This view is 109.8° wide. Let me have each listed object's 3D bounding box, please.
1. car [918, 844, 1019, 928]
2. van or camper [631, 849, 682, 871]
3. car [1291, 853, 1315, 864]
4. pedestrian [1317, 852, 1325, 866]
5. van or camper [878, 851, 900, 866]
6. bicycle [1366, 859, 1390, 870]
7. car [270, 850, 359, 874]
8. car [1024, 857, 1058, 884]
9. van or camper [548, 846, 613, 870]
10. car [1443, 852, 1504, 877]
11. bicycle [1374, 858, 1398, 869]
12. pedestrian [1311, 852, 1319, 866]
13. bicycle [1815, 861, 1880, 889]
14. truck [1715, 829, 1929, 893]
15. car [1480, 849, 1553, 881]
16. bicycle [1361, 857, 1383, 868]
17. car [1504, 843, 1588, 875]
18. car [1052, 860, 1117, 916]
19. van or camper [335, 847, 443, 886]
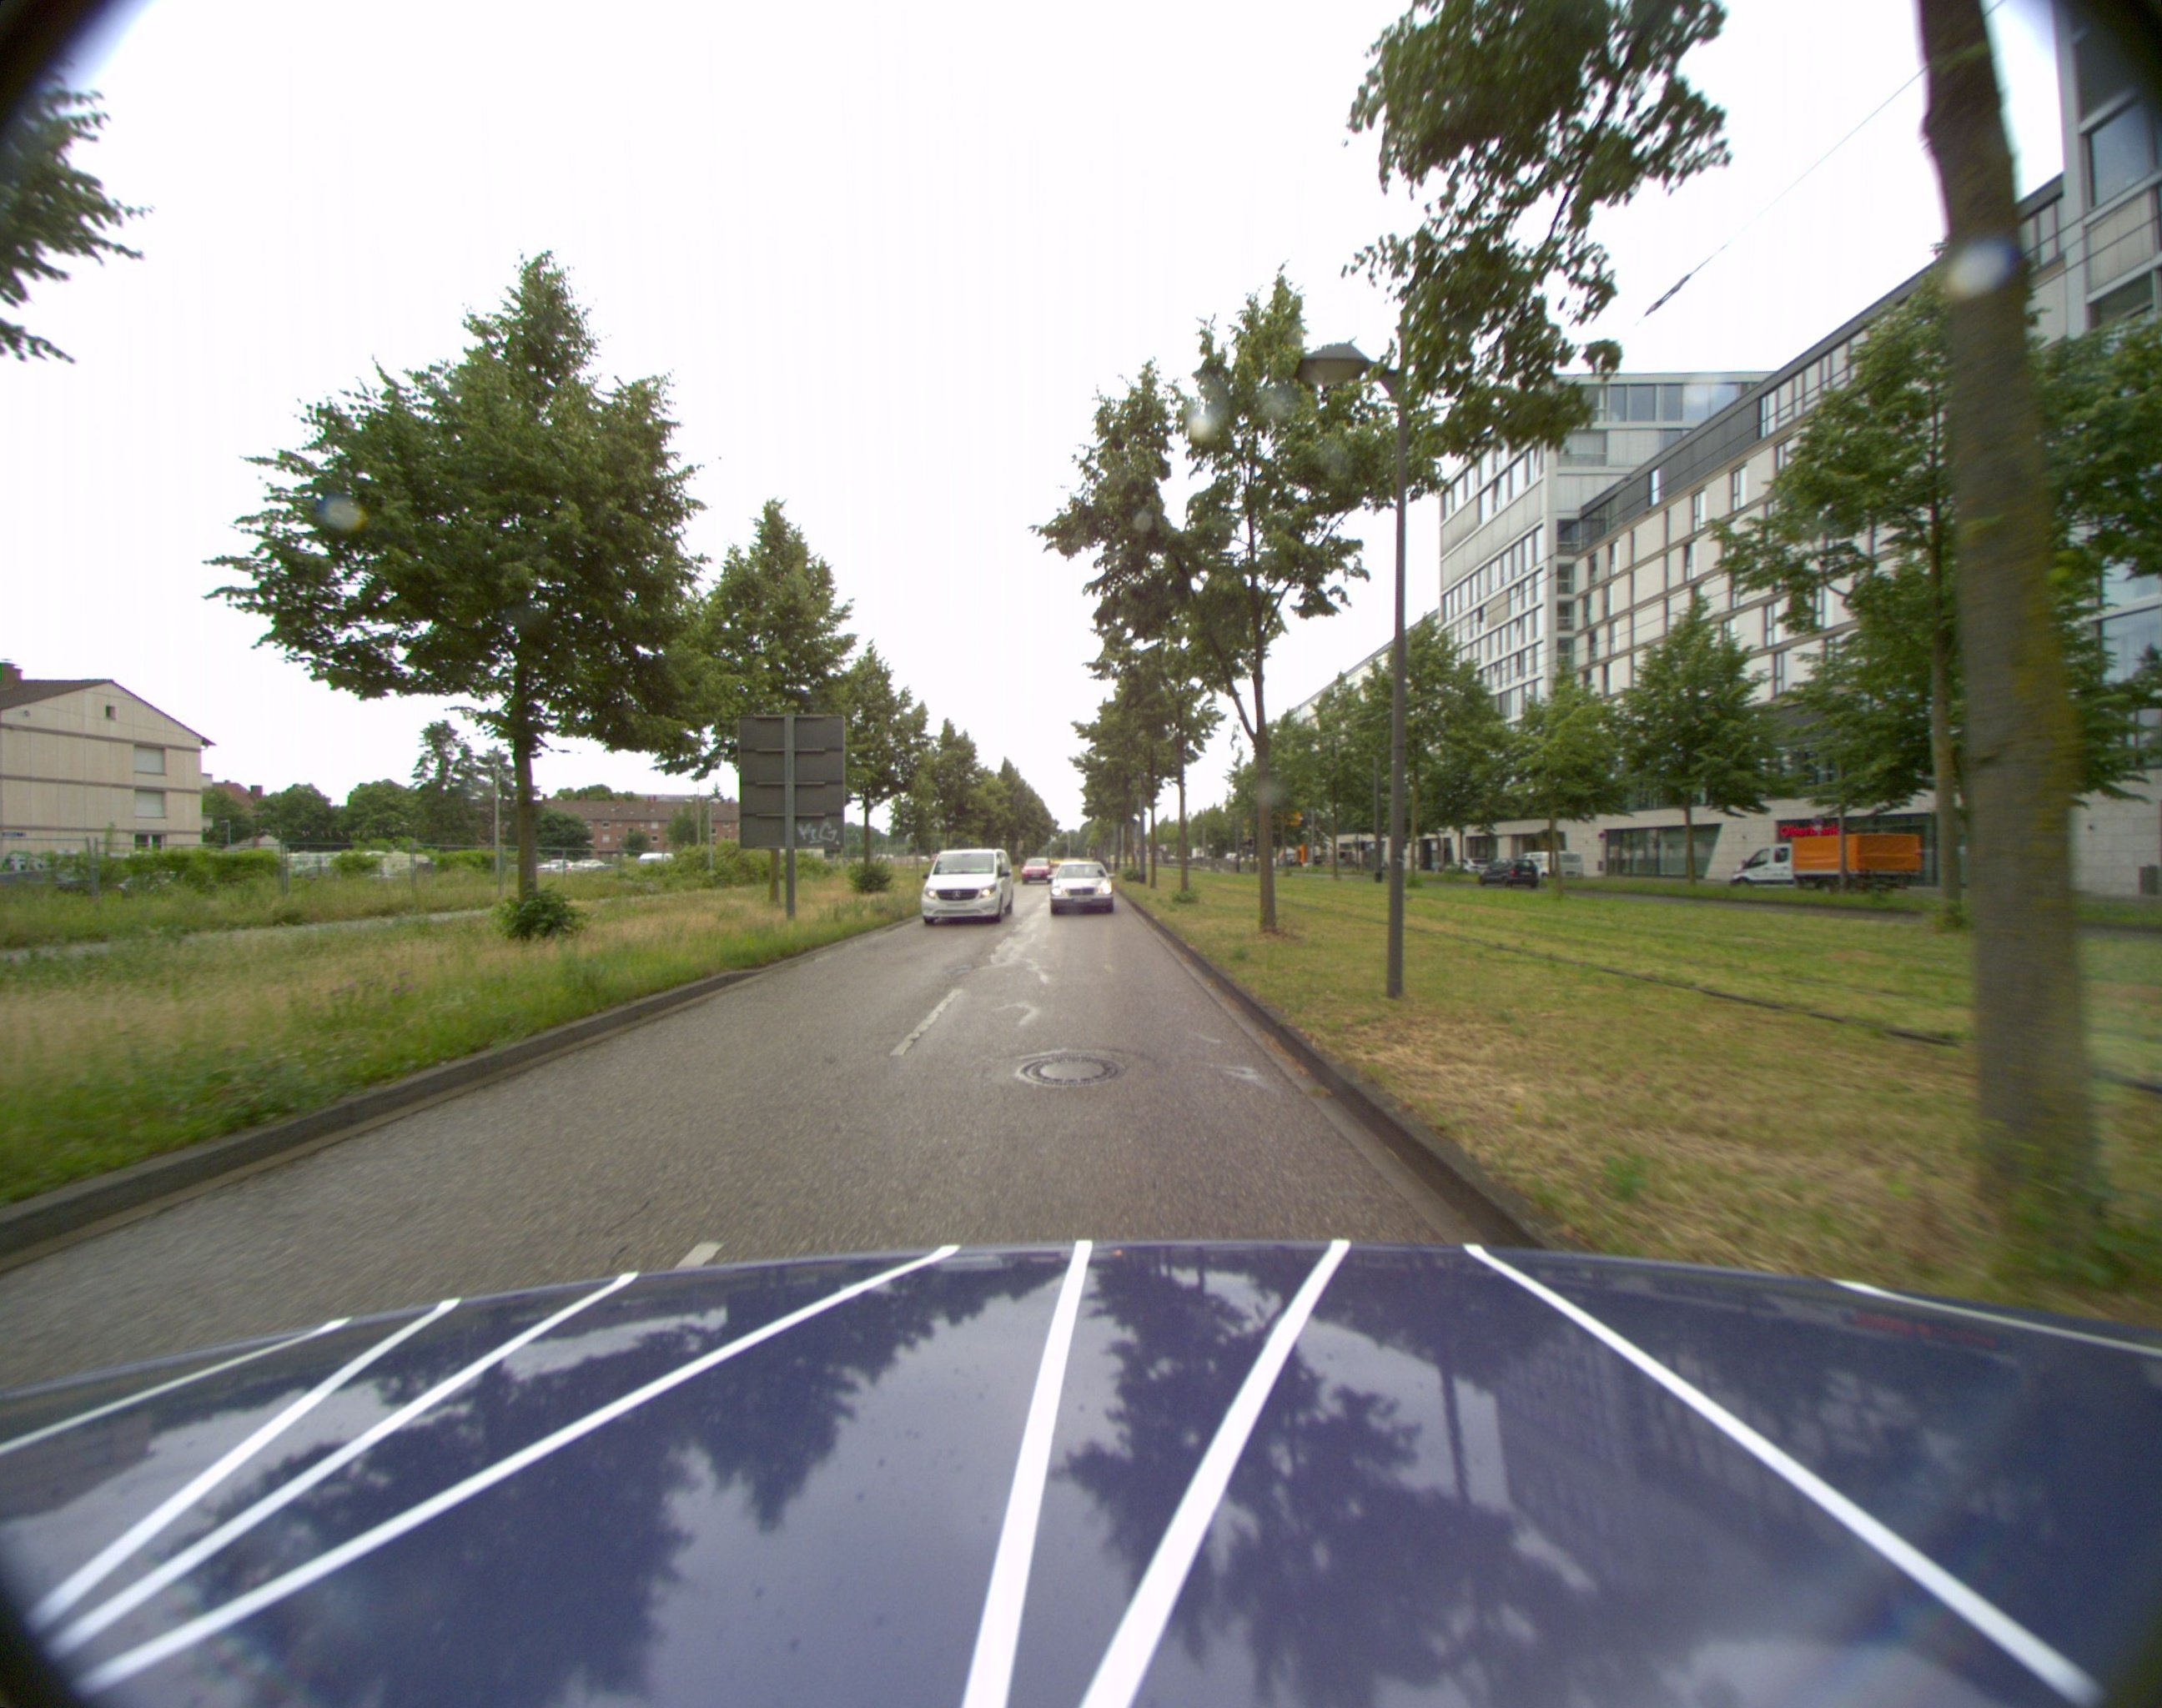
[{"bbox_3d":[-2.873,0.727,20.490,1.972,1.968,5.090,-1,1,0],"label":"car"},{"bbox_3d":[-52.505,0.712,94.218,2.784,2.521,6.417,-2,0,-2],"label":"van or camper"},{"bbox_3d":[28.173,0.524,96.497,1.998,1.281,4.070,-1,1,2],"label":"car"},{"bbox_3d":[29.582,0.646,93.645,0.712,1.681,0.793,-1,1,3],"label":"pedestrian"},{"bbox_3d":[-42.291,0.926,167.559,2.343,3.017,5.514,-2,0,11],"label":"van or camper"},{"bbox_3d":[28.551,1.028,72.997,1.983,1.029,0.696,-1,1,2],"label":"bicycle"},{"bbox_3d":[-62.509,0.629,62.097,2.168,1.883,5.204,0,0,-4],"label":"car"},{"bbox_3d":[-2.503,1.018,48.589,1.799,1.603,4.245,-1,0,1],"label":"car"},{"bbox_3d":[-52.288,0.409,79.572,2.509,2.294,6.646,-2,0,-2],"label":"van or camper"},{"bbox_3d":[28.694,0.735,55.767,2.150,1.702,4.463,-1,0,0],"label":"car"},{"bbox_3d":[28.548,0.884,71.219,1.983,1.029,0.696,-1,1,2],"label":"bicycle"},{"bbox_3d":[28.799,0.619,93.482,0.712,1.681,0.793,-1,1,3],"label":"pedestrian"},{"bbox_3d":[26.938,0.727,26.741,0.600,0.939,1.757,0,0,4],"label":"bicycle"},{"bbox_3d":[29.290,0.256,30.468,2.432,2.278,6.308,-1,0,0],"label":"truck"},{"bbox_3d":[23.383,0.545,40.961,1.998,1.647,3.700,0,0,4],"label":"car"},{"bbox_3d":[28.985,0.816,75.672,1.983,1.029,0.696,-1,1,2],"label":"bicycle"},{"bbox_3d":[28.790,0.293,47.269,1.999,1.841,5.164,-1,0,-1],"label":"car"},{"bbox_3d":[0.071,0.930,22.818,1.739,1.451,4.607,-1,0,-1],"label":"car"},{"bbox_3d":[-51.016,0.847,56.277,2.314,2.673,6.395,0,0,-2],"label":"van or camper"}]
